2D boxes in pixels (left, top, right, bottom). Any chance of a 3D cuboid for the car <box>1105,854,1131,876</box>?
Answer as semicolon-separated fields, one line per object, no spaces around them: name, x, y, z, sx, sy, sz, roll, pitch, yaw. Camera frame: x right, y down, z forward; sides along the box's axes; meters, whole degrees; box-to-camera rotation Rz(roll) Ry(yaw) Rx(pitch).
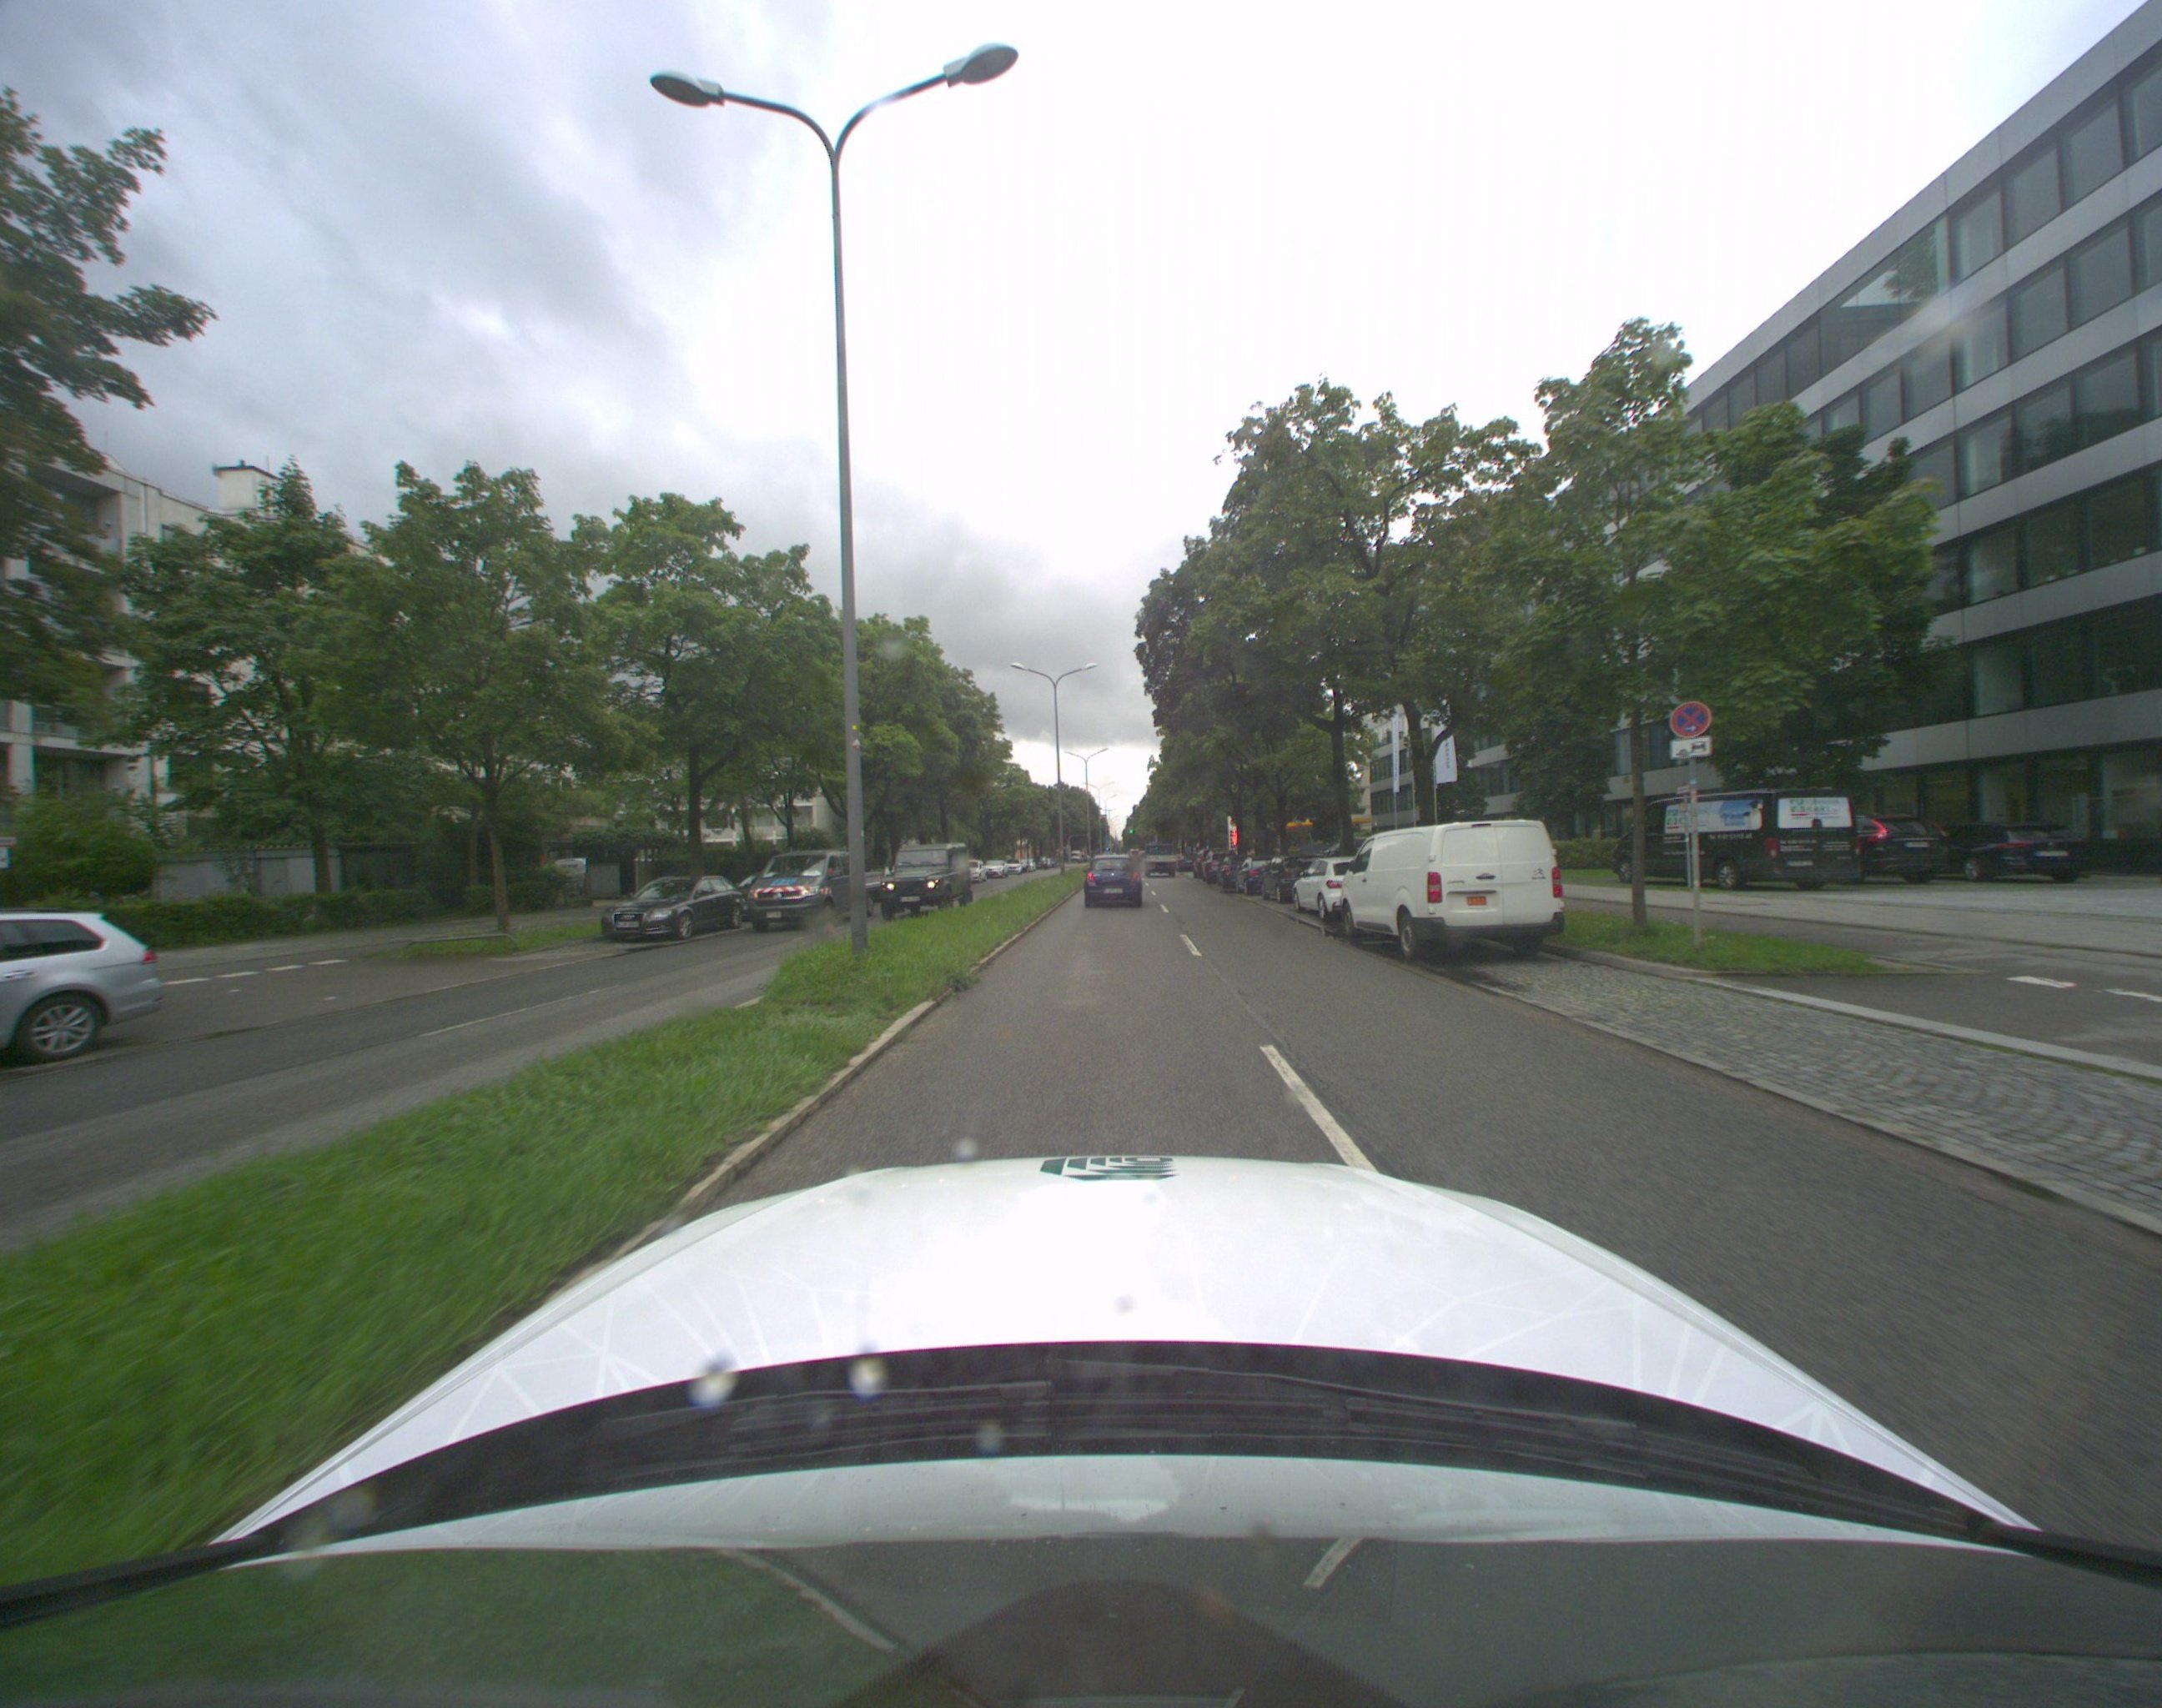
car;2.717;0.773;59.394;1.792;1.499;3.663;-2;0;3

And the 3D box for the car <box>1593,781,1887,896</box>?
car;15.810;-0.323;20.235;2.257;2.306;6.269;-3;0;1

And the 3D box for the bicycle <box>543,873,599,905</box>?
bicycle;-21.303;1.463;34.033;1.854;1.226;0.530;-2;0;-9

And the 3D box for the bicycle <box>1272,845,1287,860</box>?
bicycle;16.226;-0.159;66.605;0.745;1.183;2.248;-2;0;3

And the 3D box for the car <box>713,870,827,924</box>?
car;-9.415;1.252;25.010;1.618;1.423;4.196;1;0;4

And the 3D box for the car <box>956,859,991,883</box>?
car;-7.539;1.173;57.499;1.750;1.595;4.491;0;0;2

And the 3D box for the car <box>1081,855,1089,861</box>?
car;0.944;1.020;200.013;1.629;1.442;3.738;-3;0;3

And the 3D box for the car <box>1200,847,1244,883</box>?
car;7.282;0.545;42.543;1.804;1.675;4.806;-3;0;5

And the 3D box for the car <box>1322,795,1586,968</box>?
car;5.651;0.355;13.340;1.979;2.157;5.560;-3;0;3

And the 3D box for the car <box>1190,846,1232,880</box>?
car;7.688;0.504;48.538;1.885;1.800;4.865;-3;0;3

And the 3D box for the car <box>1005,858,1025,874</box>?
car;-6.476;1.169;80.335;1.684;1.565;3.080;1;0;1

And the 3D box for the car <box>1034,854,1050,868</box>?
car;-4.960;0.847;104.313;1.791;1.763;5.056;1;0;-1

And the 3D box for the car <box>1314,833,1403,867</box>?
car;19.130;-0.278;56.341;5.449;2.083;2.148;-2;0;2

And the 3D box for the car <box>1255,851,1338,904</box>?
car;6.631;0.667;25.419;1.694;1.446;3.982;-3;0;3

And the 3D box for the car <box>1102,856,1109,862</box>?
car;6.458;1.323;214.185;1.730;1.442;4.107;-3;0;4

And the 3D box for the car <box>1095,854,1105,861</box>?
car;3.960;0.694;168.196;1.731;1.440;4.219;-3;0;3

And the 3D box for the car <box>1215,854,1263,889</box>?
car;7.144;0.751;37.106;1.693;1.408;4.520;-3;0;6

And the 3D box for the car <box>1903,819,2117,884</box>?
car;22.339;-0.060;19.829;1.767;1.374;3.985;-2;0;21

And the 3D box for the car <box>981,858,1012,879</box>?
car;-6.952;1.186;67.385;1.824;1.609;4.496;0;0;4

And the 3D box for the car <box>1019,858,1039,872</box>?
car;-5.827;1.202;90.848;1.667;1.443;4.324;1;0;4

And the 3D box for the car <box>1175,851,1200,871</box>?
car;8.846;0.580;67.763;1.771;1.511;4.291;-4;0;5

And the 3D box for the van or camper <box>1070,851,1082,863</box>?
van or camper;-0.989;0.547;179.149;2.131;2.476;6.264;-3;0;3

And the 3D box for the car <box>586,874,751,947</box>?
car;-9.662;1.258;19.524;1.574;1.423;4.365;1;0;2

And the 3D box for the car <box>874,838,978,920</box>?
car;-4.292;0.633;23.343;1.773;2.029;4.821;-3;0;2

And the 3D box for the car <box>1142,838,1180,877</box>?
car;5.323;0.205;54.761;2.407;2.444;5.093;-1;0;4

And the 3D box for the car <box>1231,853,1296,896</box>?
car;6.780;0.718;30.619;1.694;1.421;4.124;-3;0;3

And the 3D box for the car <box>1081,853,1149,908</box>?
car;0.957;0.756;24.707;1.890;1.499;3.659;-1;0;0

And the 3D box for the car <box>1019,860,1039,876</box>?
car;-5.445;1.455;85.756;1.667;1.475;4.219;1;0;3

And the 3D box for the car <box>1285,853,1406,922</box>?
car;6.232;0.715;19.662;1.694;1.397;4.236;-3;0;3

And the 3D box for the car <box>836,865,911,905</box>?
car;-8.825;1.268;35.097;1.709;1.524;5.037;1;0;2

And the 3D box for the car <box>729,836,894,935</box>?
car;-7.037;0.737;22.171;2.200;2.194;5.803;-4;0;2

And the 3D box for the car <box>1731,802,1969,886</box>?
car;19.202;-0.223;20.683;1.835;1.818;4.473;-3;0;1

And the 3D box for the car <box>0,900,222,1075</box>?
car;-10.536;1.248;6.676;1.729;1.448;4.826;0;0;2
